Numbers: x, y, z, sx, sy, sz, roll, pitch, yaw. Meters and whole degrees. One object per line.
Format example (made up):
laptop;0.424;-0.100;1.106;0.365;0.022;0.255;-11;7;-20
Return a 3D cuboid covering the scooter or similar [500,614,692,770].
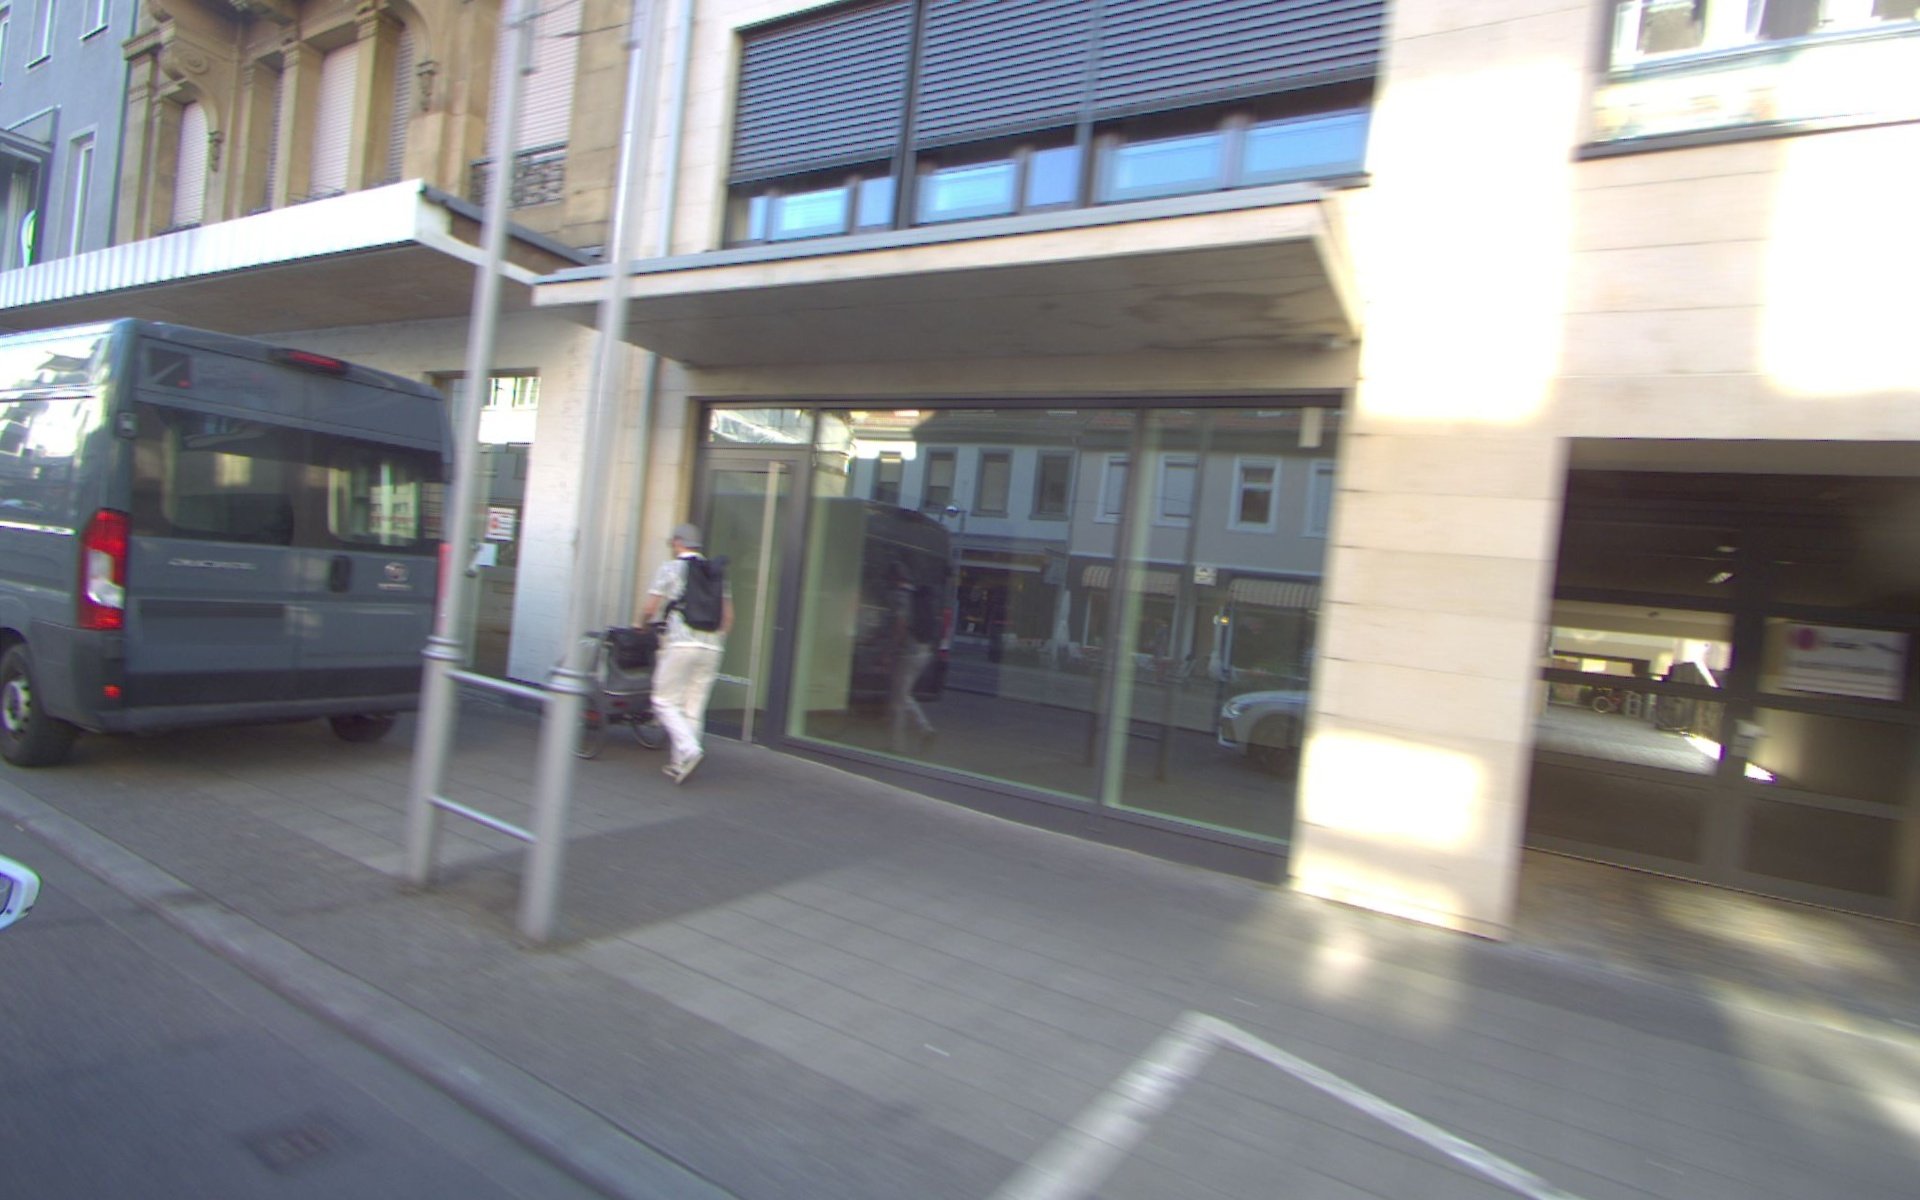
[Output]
scooter or similar;-2.702;0.645;7.443;1.276;0.948;0.594;6;2;30

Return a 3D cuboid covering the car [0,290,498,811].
car;-5.952;-0.435;7.097;5.272;2.494;2.172;7;2;31

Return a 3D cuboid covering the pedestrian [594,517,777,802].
pedestrian;-1.842;0.365;6.744;0.938;1.737;0.556;7;2;30

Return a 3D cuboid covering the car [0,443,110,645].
car;-11.351;-0.760;10.590;4.538;1.953;2.159;7;3;29
